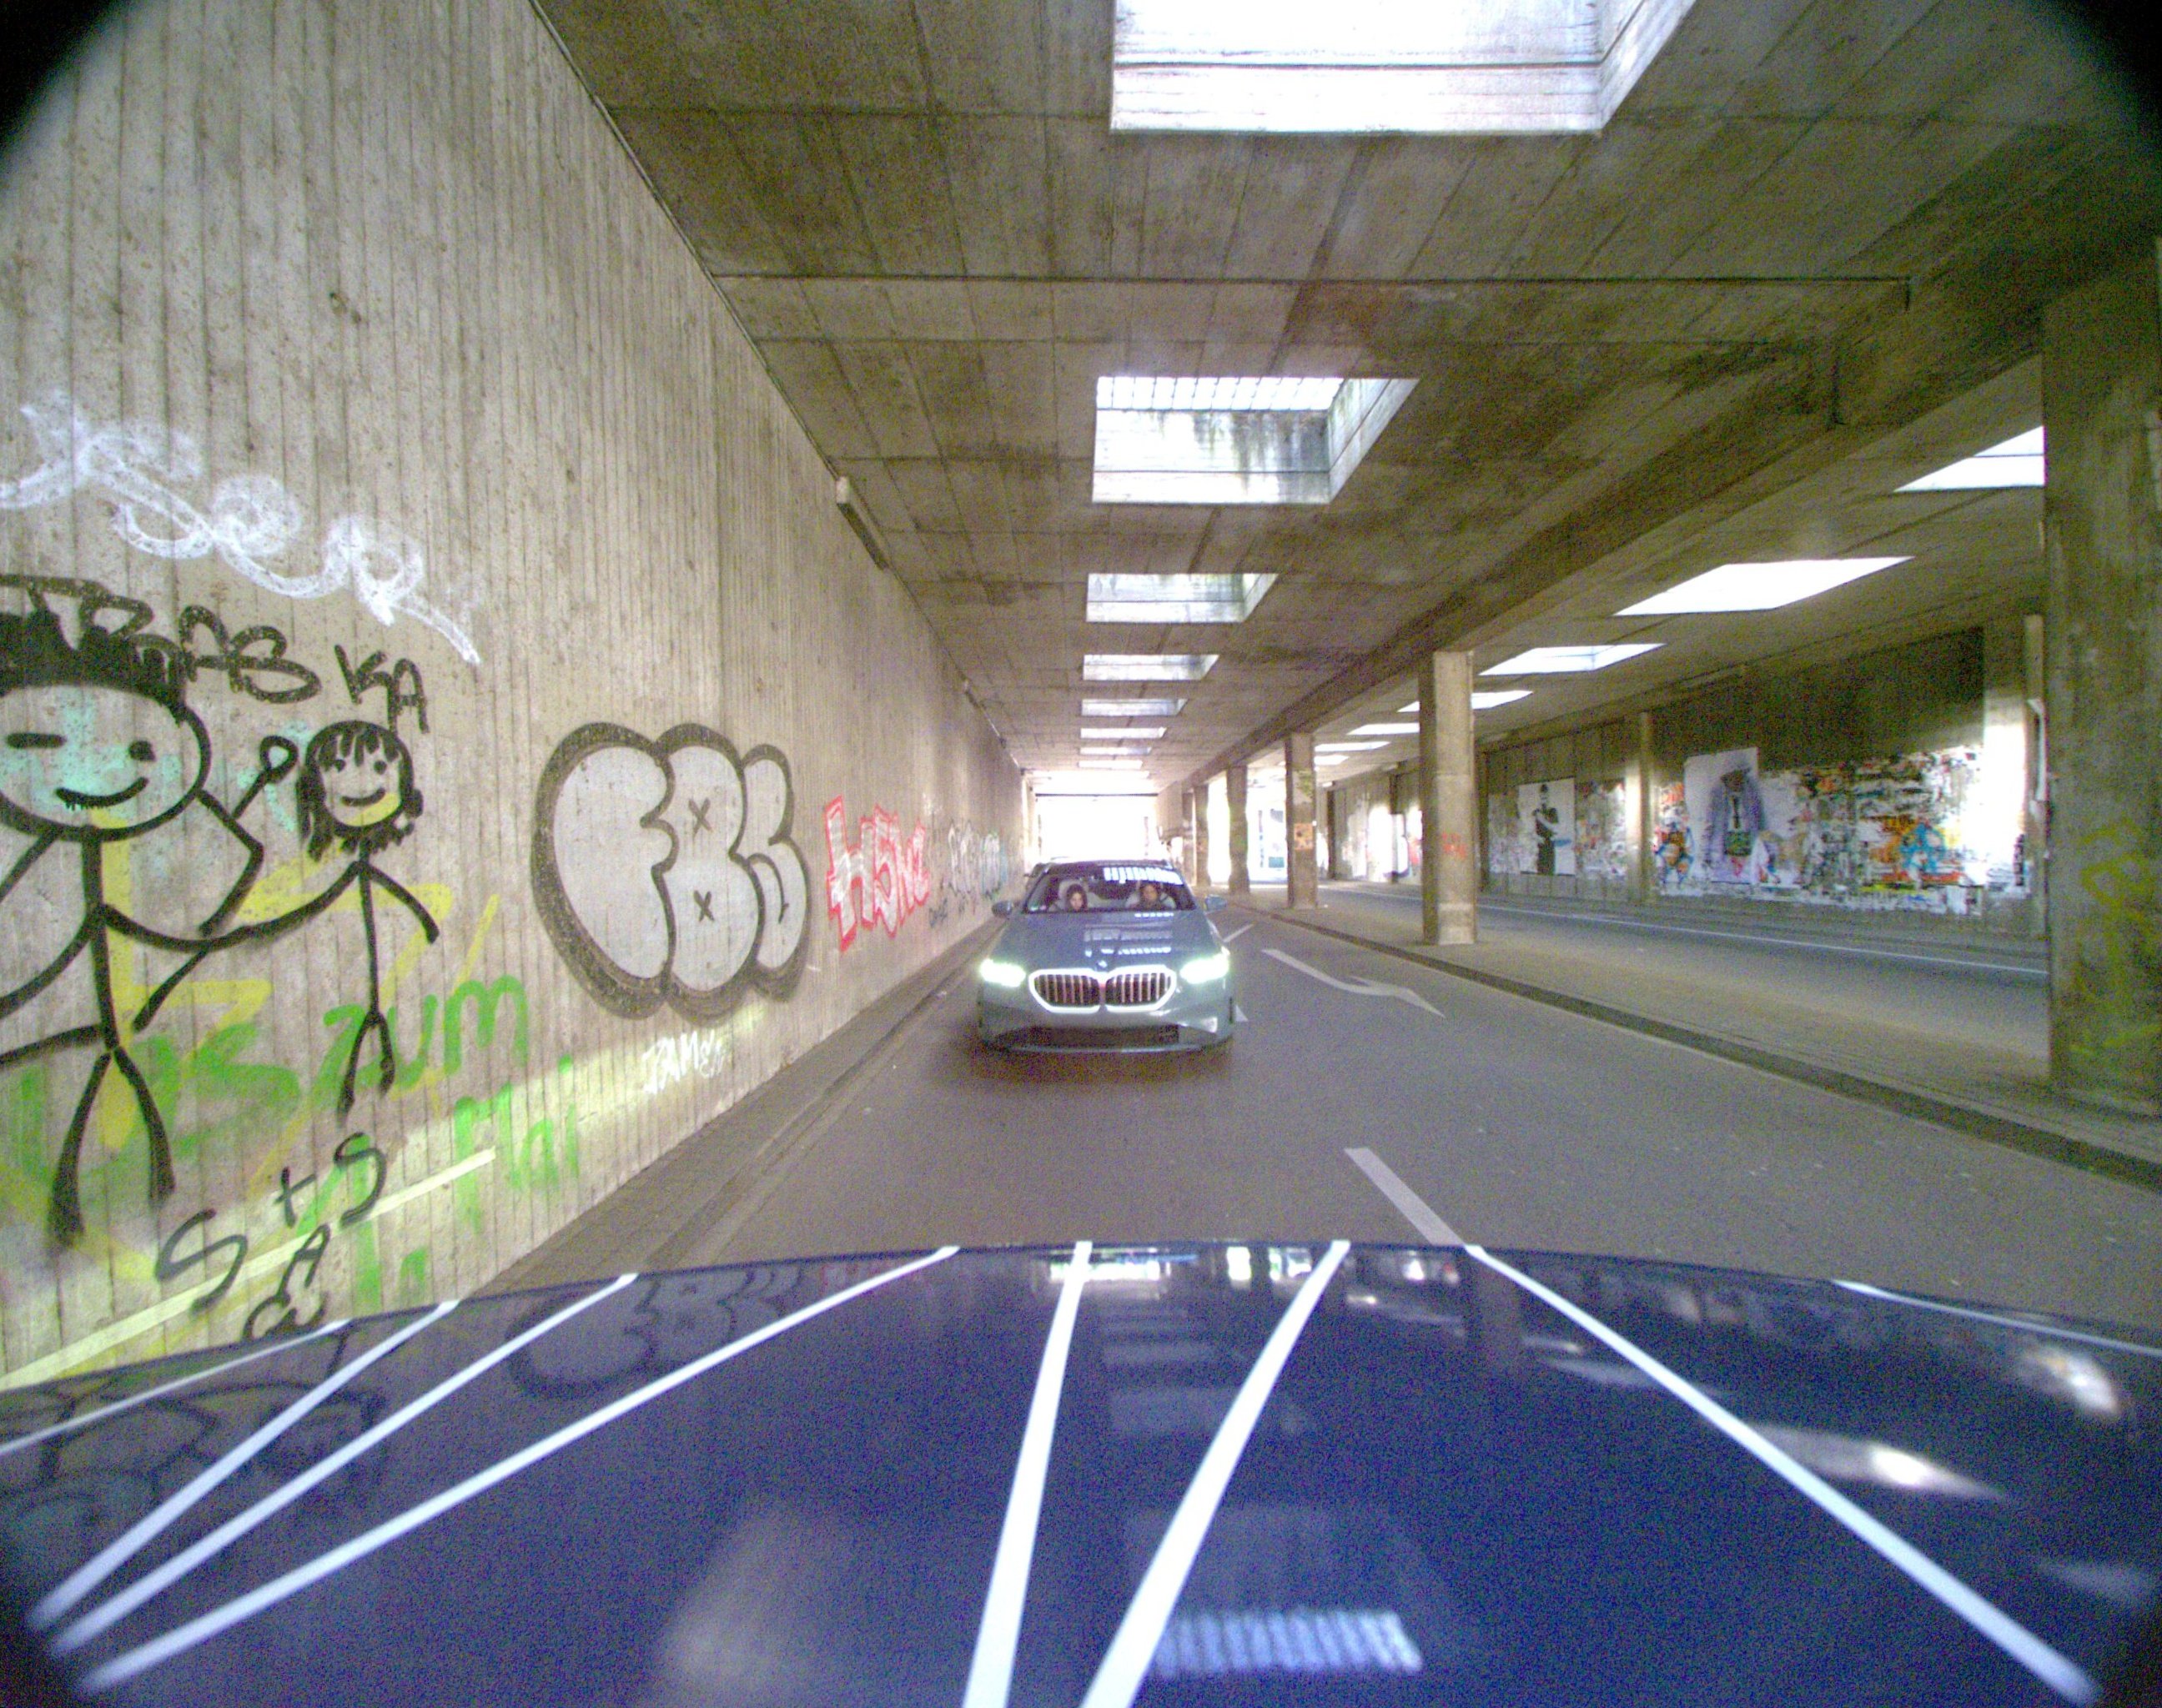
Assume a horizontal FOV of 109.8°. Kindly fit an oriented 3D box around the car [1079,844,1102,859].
[{"bbox_3d":[1.213,-0.329,103.514,2.361,2.002,5.146,-1,0,-8],"label":"car"}]

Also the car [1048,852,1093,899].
[{"bbox_3d":[-0.362,0.772,29.870,1.581,1.676,4.078,-2,0,1],"label":"car"}]

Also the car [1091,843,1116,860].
[{"bbox_3d":[2.867,-0.323,97.502,2.361,2.002,5.146,-1,0,-8],"label":"car"}]

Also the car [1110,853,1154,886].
[{"bbox_3d":[2.396,0.717,36.684,1.784,1.438,4.178,-1,0,0],"label":"car"}]

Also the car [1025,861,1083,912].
[{"bbox_3d":[-0.785,0.953,23.864,1.593,1.387,3.833,-2,0,1],"label":"car"}]

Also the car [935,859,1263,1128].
[{"bbox_3d":[0.190,0.885,7.289,1.998,1.594,5.176,-1,0,2],"label":"car"}]
